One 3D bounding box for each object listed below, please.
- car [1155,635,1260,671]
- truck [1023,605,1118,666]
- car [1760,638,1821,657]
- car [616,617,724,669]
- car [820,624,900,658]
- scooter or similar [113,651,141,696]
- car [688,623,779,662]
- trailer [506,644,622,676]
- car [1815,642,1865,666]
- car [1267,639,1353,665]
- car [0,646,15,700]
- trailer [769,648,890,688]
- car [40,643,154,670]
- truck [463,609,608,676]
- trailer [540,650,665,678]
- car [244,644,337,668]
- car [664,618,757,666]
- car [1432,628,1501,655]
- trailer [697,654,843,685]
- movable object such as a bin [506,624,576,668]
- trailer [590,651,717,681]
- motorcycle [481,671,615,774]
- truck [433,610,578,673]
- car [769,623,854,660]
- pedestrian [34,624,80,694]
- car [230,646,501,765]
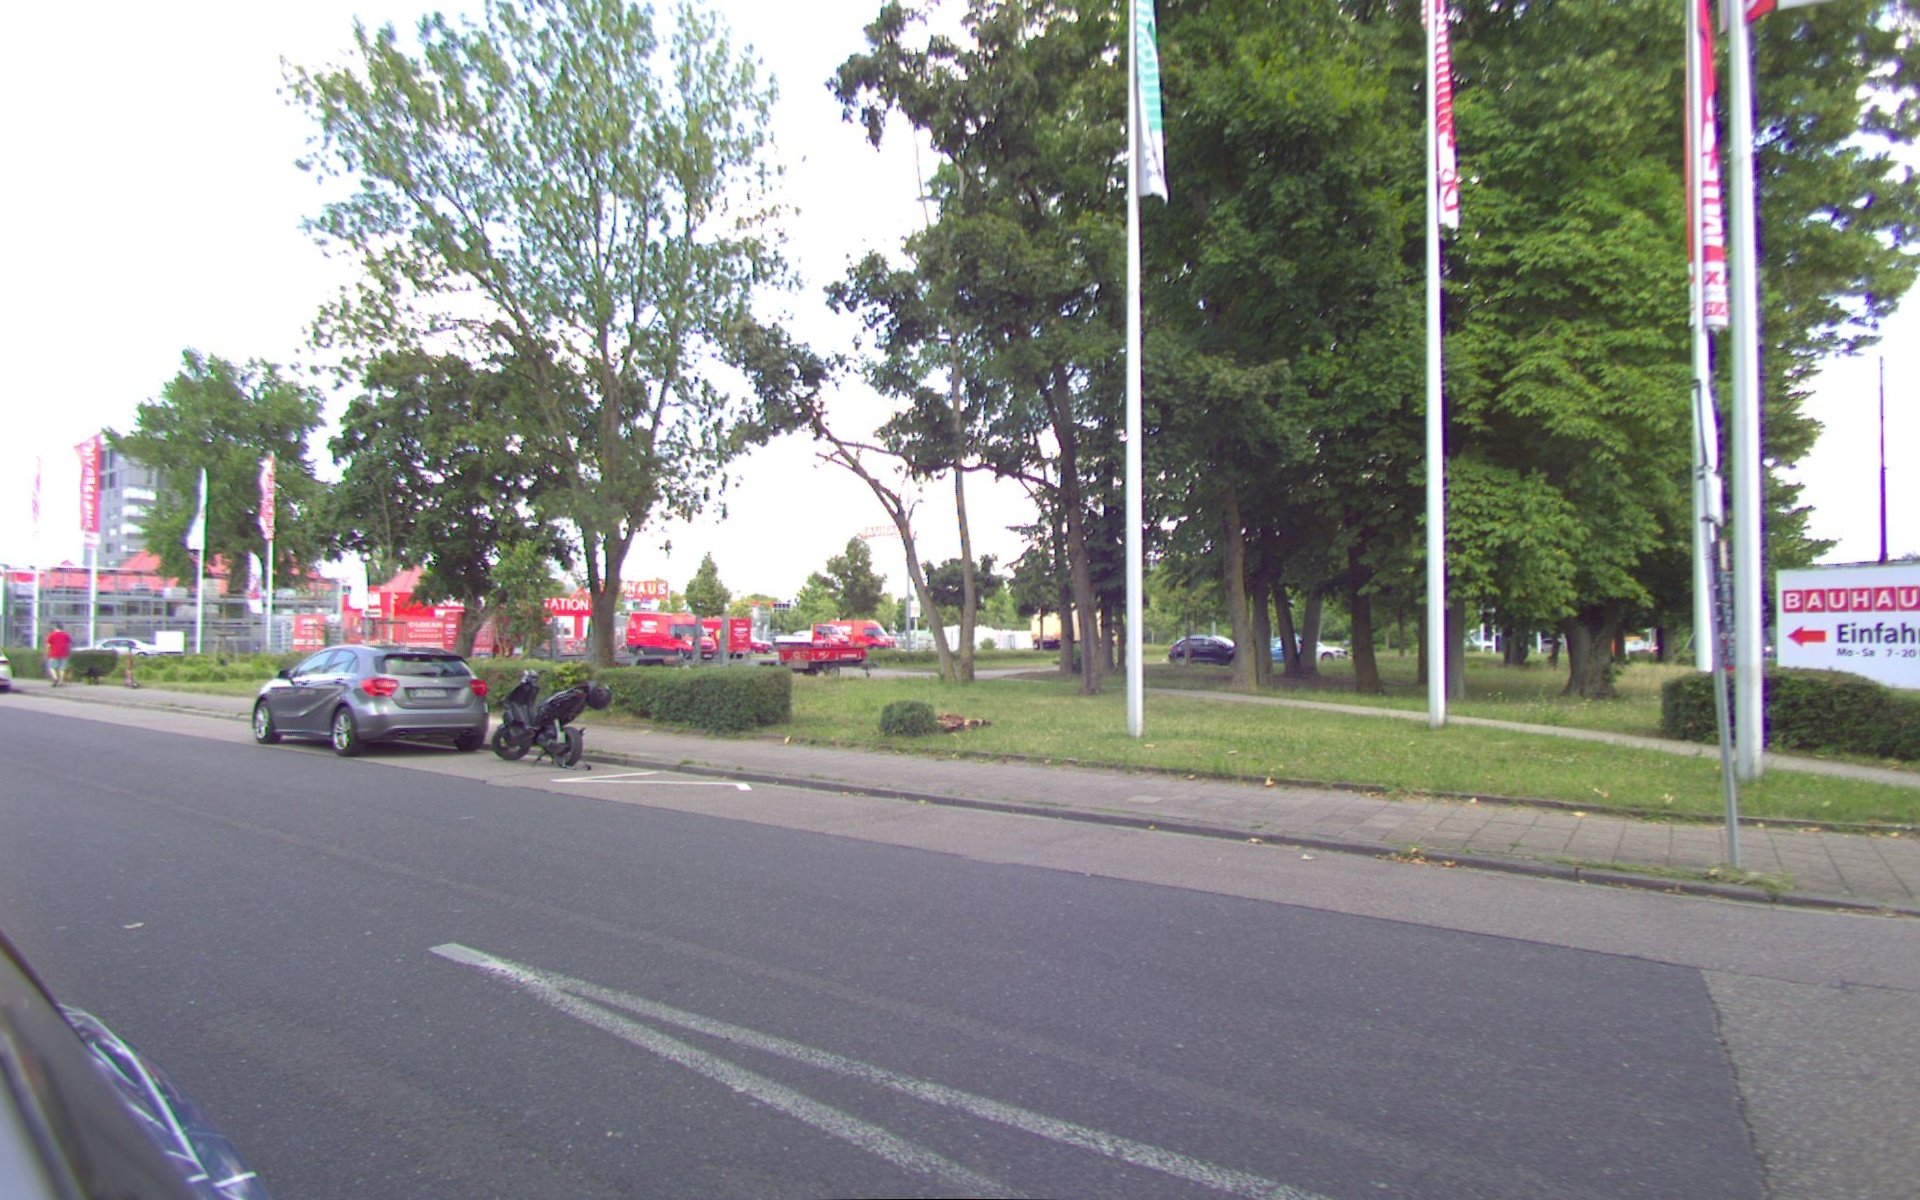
[{"bbox_3d":[11.129,2.351,45.577,4.347,1.523,1.554,-1,-3,35],"label":"car"},{"bbox_3d":[7.925,2.476,71.345,2.981,3.979,8.249,0,-1,35],"label":"truck"},{"bbox_3d":[78.553,4.499,95.786,1.859,1.798,4.012,1,-2,-18],"label":"car"},{"bbox_3d":[-15.972,2.295,55.564,6.426,2.613,2.246,0,-1,36],"label":"car"},{"bbox_3d":[-7.932,3.199,79.955,6.424,2.434,2.246,0,-1,35],"label":"car"},{"bbox_3d":[-23.498,2.064,28.546,0.511,1.202,1.281,1,-2,-43],"label":"scooter or similar"},{"bbox_3d":[-15.417,2.819,68.705,6.424,2.434,2.246,0,-1,35],"label":"car"},{"bbox_3d":[-16.021,2.396,41.099,1.667,1.129,4.200,0,-1,33],"label":"trailer"},{"bbox_3d":[58.529,3.542,67.373,1.864,1.497,3.956,-1,-2,32],"label":"car"},{"bbox_3d":[20.482,3.018,59.342,4.402,1.423,1.976,-1,-2,36],"label":"car"},{"bbox_3d":[-28.404,2.009,28.447,4.224,1.490,1.750,-2,-6,34],"label":"car"},{"bbox_3d":[-4.215,2.172,33.059,1.714,1.200,3.777,-3,-3,41],"label":"trailer"},{"bbox_3d":[-49.140,3.201,57.724,1.951,1.465,4.641,-2,-3,36],"label":"car"},{"bbox_3d":[-17.790,1.761,42.746,1.776,2.613,5.498,0,-1,36],"label":"truck"},{"bbox_3d":[-13.997,2.473,39.787,2.153,0.920,4.200,0,-1,33],"label":"trailer"},{"bbox_3d":[-40.537,3.377,61.360,1.925,1.387,4.327,-2,-3,35],"label":"car"},{"bbox_3d":[-14.925,2.463,60.358,5.712,2.613,2.246,0,-1,36],"label":"car"},{"bbox_3d":[48.870,3.981,97.744,2.325,2.461,5.928,1,-2,-21],"label":"car"},{"bbox_3d":[-6.410,2.338,34.500,2.186,0.920,4.547,-3,-3,40],"label":"trailer"},{"bbox_3d":[-22.930,2.506,55.397,3.538,2.292,1.976,-2,-3,36],"label":"movable object such as a bin"},{"bbox_3d":[-11.339,2.414,37.695,2.017,0.920,4.200,0,-1,33],"label":"trailer"},{"bbox_3d":[-5.060,1.466,12.383,1.799,1.147,0.615,-2,-6,36],"label":"motorcycle"},{"bbox_3d":[-20.087,1.832,45.014,1.812,2.613,5.701,0,-2,37],"label":"truck"},{"bbox_3d":[-10.983,3.021,74.652,6.424,2.434,2.246,0,-1,35],"label":"car"},{"bbox_3d":[-26.572,1.721,29.788,0.883,2.029,0.802,-1,-2,35],"label":"pedestrian"},{"bbox_3d":[-8.431,1.398,14.218,4.323,1.431,1.694,-2,-6,37],"label":"car"}]
